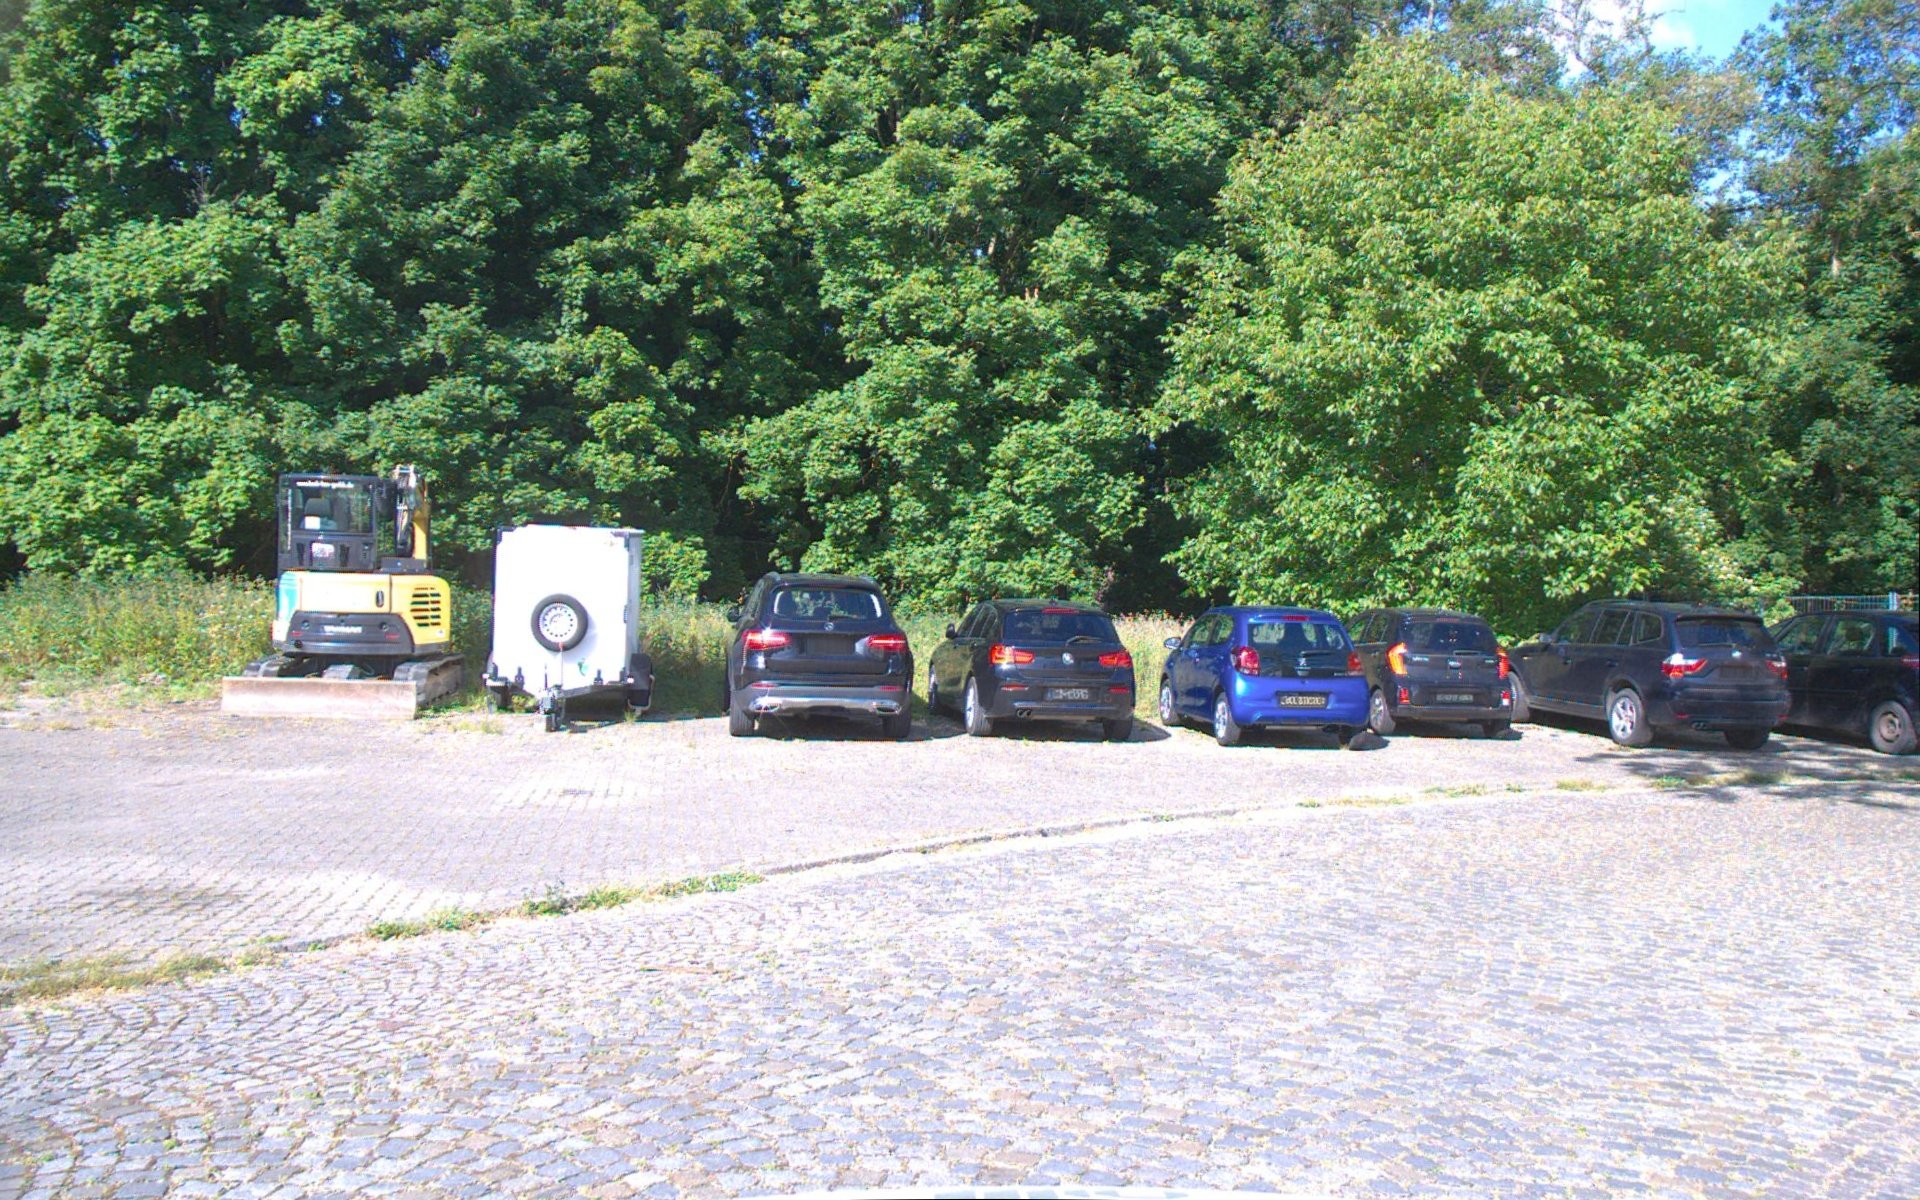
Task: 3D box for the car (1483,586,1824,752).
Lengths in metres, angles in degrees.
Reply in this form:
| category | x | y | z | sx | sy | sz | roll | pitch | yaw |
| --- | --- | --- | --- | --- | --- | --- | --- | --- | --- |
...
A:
| category | x | y | z | sx | sy | sz | roll | pitch | yaw |
| --- | --- | --- | --- | --- | --- | --- | --- | --- | --- |
| car | 8.429 | 0.761 | 20.569 | 1.840 | 1.659 | 4.264 | 2 | 2 | -10 |

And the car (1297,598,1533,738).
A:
| category | x | y | z | sx | sy | sz | roll | pitch | yaw |
| --- | --- | --- | --- | --- | --- | --- | --- | --- | --- |
| car | 5.566 | 0.776 | 20.697 | 1.704 | 1.476 | 3.723 | 2 | 1 | -3 |

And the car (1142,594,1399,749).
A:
| category | x | y | z | sx | sy | sz | roll | pitch | yaw |
| --- | --- | --- | --- | --- | --- | --- | --- | --- | --- |
| car | 3.427 | 0.737 | 18.974 | 1.746 | 1.484 | 3.783 | 2 | 1 | -8 |

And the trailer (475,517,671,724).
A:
| category | x | y | z | sx | sy | sz | roll | pitch | yaw |
| --- | --- | --- | --- | --- | --- | --- | --- | --- | --- |
| trailer | -4.253 | 0.194 | 18.564 | 1.784 | 2.086 | 2.846 | 2 | 1 | -8 |

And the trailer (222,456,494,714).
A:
| category | x | y | z | sx | sy | sz | roll | pitch | yaw |
| --- | --- | --- | --- | --- | --- | --- | --- | --- | --- |
| trailer | -6.585 | -0.228 | 18.433 | 2.216 | 2.582 | 2.847 | 2 | 3 | -8 |

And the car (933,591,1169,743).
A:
| category | x | y | z | sx | sy | sz | roll | pitch | yaw |
| --- | --- | --- | --- | --- | --- | --- | --- | --- | --- |
| car | 0.892 | 0.670 | 18.483 | 1.854 | 1.436 | 3.782 | 2 | 1 | -9 |

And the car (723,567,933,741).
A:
| category | x | y | z | sx | sy | sz | roll | pitch | yaw |
| --- | --- | --- | --- | --- | --- | --- | --- | --- | --- |
| car | -1.548 | 0.489 | 17.935 | 1.928 | 1.617 | 4.123 | 2 | 1 | -9 |

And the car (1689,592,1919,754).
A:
| category | x | y | z | sx | sy | sz | roll | pitch | yaw |
| --- | --- | --- | --- | --- | --- | --- | --- | --- | --- |
| car | 11.451 | 0.843 | 20.964 | 1.792 | 1.616 | 4.260 | 1 | 3 | -13 |
